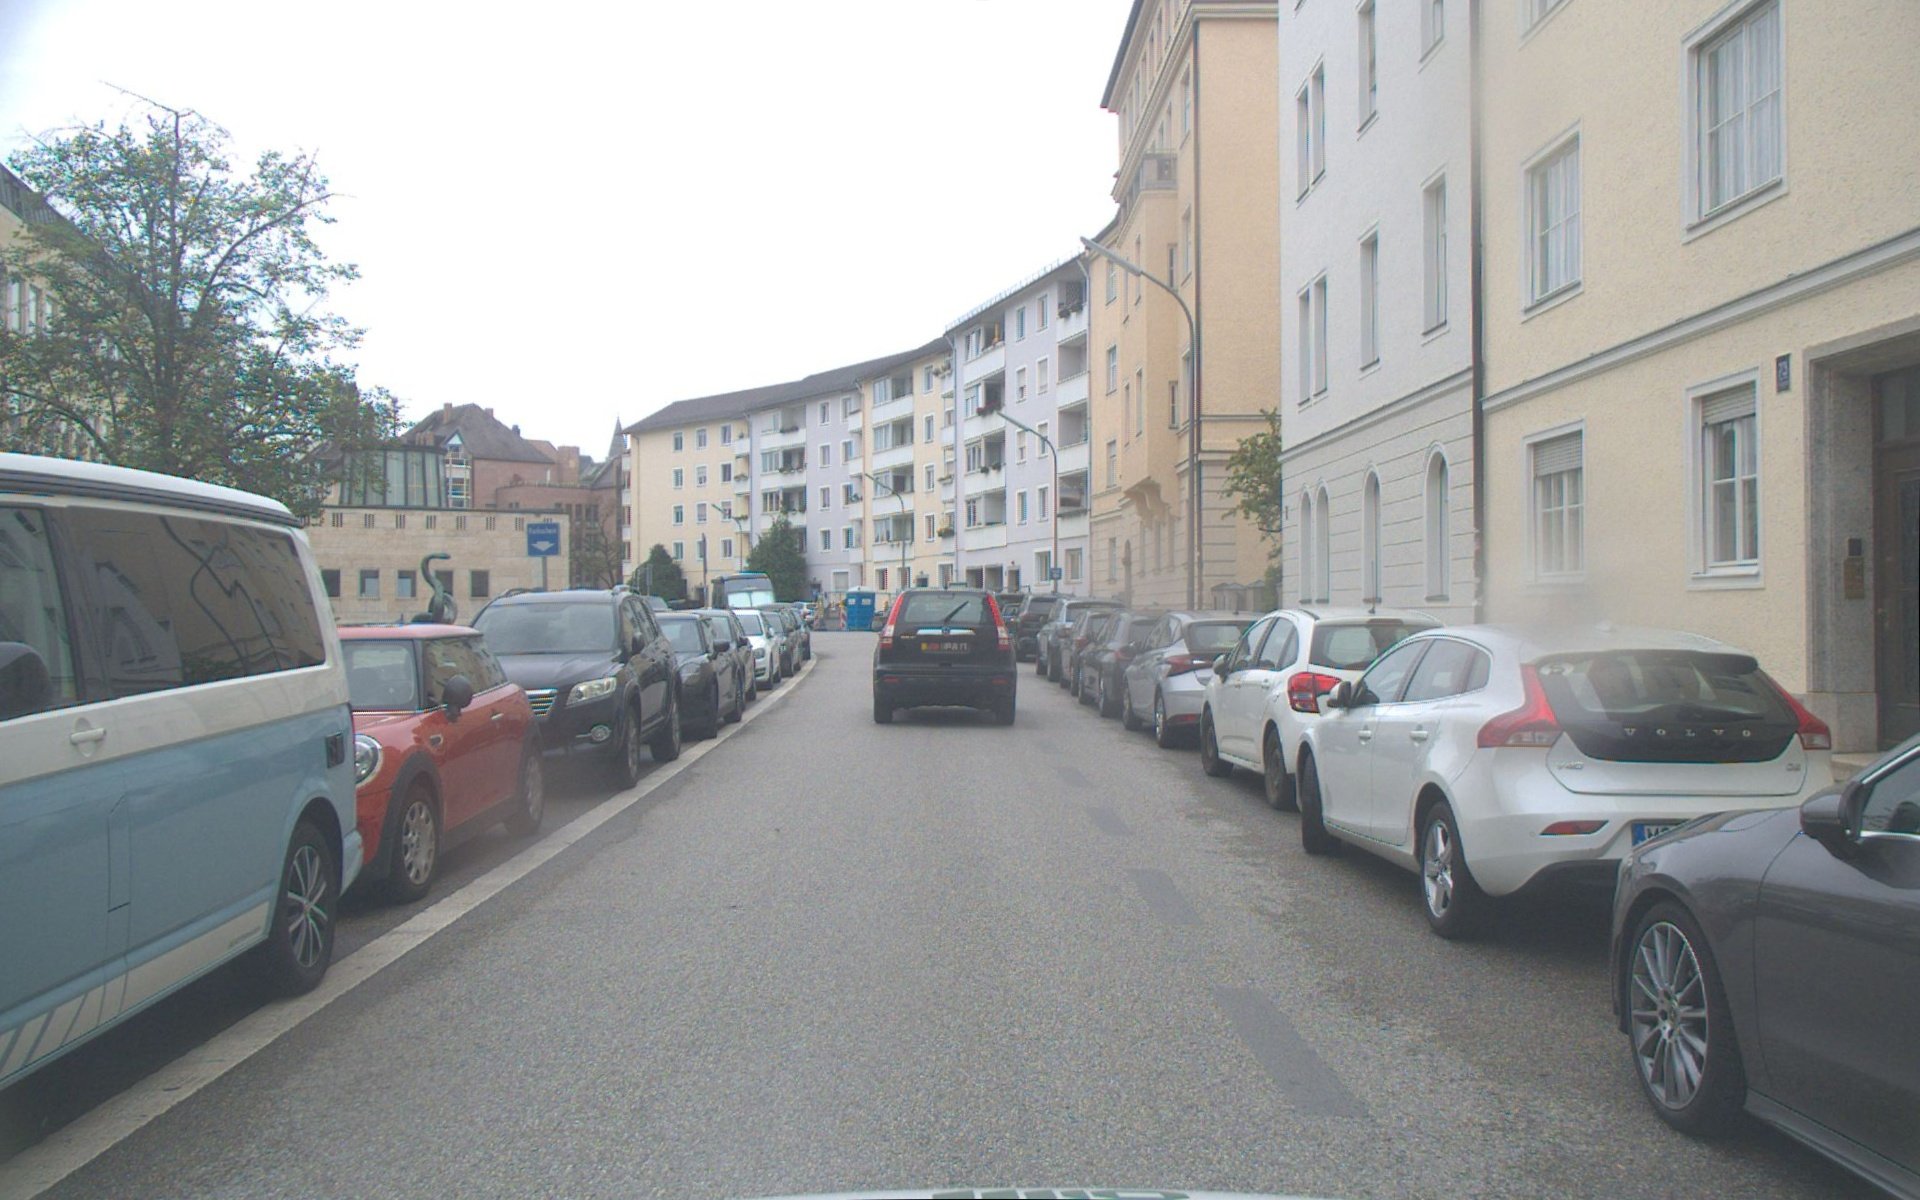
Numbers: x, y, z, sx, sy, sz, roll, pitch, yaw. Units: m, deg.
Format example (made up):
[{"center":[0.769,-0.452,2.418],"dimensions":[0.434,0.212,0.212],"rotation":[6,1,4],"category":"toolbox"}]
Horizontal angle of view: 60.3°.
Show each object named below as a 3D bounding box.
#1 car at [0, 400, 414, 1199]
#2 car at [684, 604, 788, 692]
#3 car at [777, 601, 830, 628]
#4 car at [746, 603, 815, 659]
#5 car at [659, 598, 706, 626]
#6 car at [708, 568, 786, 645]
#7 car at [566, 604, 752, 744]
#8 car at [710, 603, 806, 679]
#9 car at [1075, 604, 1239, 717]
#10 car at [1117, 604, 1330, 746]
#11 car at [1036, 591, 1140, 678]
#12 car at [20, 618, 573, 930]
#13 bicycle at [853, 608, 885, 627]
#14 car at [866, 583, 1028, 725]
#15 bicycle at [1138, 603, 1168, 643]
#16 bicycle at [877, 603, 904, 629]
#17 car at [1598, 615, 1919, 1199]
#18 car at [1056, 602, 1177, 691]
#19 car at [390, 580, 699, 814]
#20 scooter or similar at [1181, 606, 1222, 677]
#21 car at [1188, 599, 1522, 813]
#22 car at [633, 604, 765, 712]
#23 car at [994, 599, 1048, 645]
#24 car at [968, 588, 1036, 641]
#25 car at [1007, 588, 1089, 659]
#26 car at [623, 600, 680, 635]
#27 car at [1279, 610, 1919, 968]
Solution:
[{"center":[-3.309,0.553,4.971],"dimensions":[1.890,2.013,5.019],"rotation":[-1,0,-3],"category":"car"},{"center":[-4.154,0.856,31.149],"dimensions":[1.624,1.479,4.070],"rotation":[-2,0,-4],"category":"car"},{"center":[-9.259,0.838,97.507],"dimensions":[1.705,1.509,3.962],"rotation":[1,0,-29],"category":"car"},{"center":[-4.986,0.828,46.187],"dimensions":[1.764,1.430,4.450],"rotation":[-2,0,-6],"category":"car"},{"center":[-19.175,0.835,114.034],"dimensions":[1.710,1.911,3.951],"rotation":[1,0,-35],"category":"car"},{"center":[-8.073,0.231,62.206],"dimensions":[2.128,2.688,5.993],"rotation":[-2,0,-15],"category":"car"},{"center":[-3.593,0.828,20.368],"dimensions":[1.646,1.479,3.868],"rotation":[-2,0,-2],"category":"car"},{"center":[-4.368,0.850,36.312],"dimensions":[1.720,1.479,4.393],"rotation":[-2,0,-3],"category":"car"},{"center":[2.721,0.797,23.728],"dimensions":[1.645,1.452,4.389],"rotation":[0,0,-3],"category":"car"},{"center":[2.918,0.783,19.152],"dimensions":[1.645,1.452,4.165],"rotation":[0,0,-3],"category":"car"},{"center":[2.568,0.666,34.026],"dimensions":[1.687,1.663,4.456],"rotation":[0,0,-2],"category":"car"},{"center":[-3.563,0.838,9.708],"dimensions":[1.708,1.411,3.917],"rotation":[0,0,-1],"category":"car"},{"center":[-5.542,1.062,100.496],"dimensions":[1.841,1.110,0.561],"rotation":[0,-1,-23],"category":"bicycle"},{"center":[-0.262,0.645,21.610],"dimensions":[1.854,1.676,3.987],"rotation":[0,0,-4],"category":"car"},{"center":[5.699,0.670,48.948],"dimensions":[0.567,1.102,1.953],"rotation":[-3,0,-1],"category":"bicycle"},{"center":[-3.909,0.878,92.836],"dimensions":[0.953,1.413,2.552],"rotation":[0,0,-16],"category":"bicycle"},{"center":[2.982,0.755,3.246],"dimensions":[1.645,1.434,4.420],"rotation":[0,0,-2],"category":"car"},{"center":[2.679,0.775,29.070],"dimensions":[1.645,1.452,4.085],"rotation":[0,0,-2],"category":"car"},{"center":[-3.559,0.750,15.005],"dimensions":[1.709,1.695,4.447],"rotation":[-4,0,-2],"category":"car"},{"center":[4.125,0.702,28.279],"dimensions":[0.475,1.184,1.171],"rotation":[0,-1,-3],"category":"scooter or similar"},{"center":[3.103,0.762,13.856],"dimensions":[1.645,1.507,4.165],"rotation":[0,0,-3],"category":"car"},{"center":[-3.964,0.832,25.612],"dimensions":[1.624,1.479,3.971],"rotation":[-2,0,-4],"category":"car"},{"center":[2.039,0.737,56.007],"dimensions":[1.673,1.472,3.829],"rotation":[1,0,0],"category":"car"},{"center":[1.505,0.525,61.246],"dimensions":[1.745,1.838,4.266],"rotation":[1,0,-9],"category":"car"},{"center":[2.280,0.609,44.015],"dimensions":[1.831,1.747,4.864],"rotation":[1,0,-1],"category":"car"},{"center":[-15.719,0.862,84.175],"dimensions":[1.660,1.737,4.472],"rotation":[0,0,-27],"category":"car"},{"center":[3.038,0.779,8.939],"dimensions":[1.645,1.434,4.441],"rotation":[0,0,-2],"category":"car"}]
